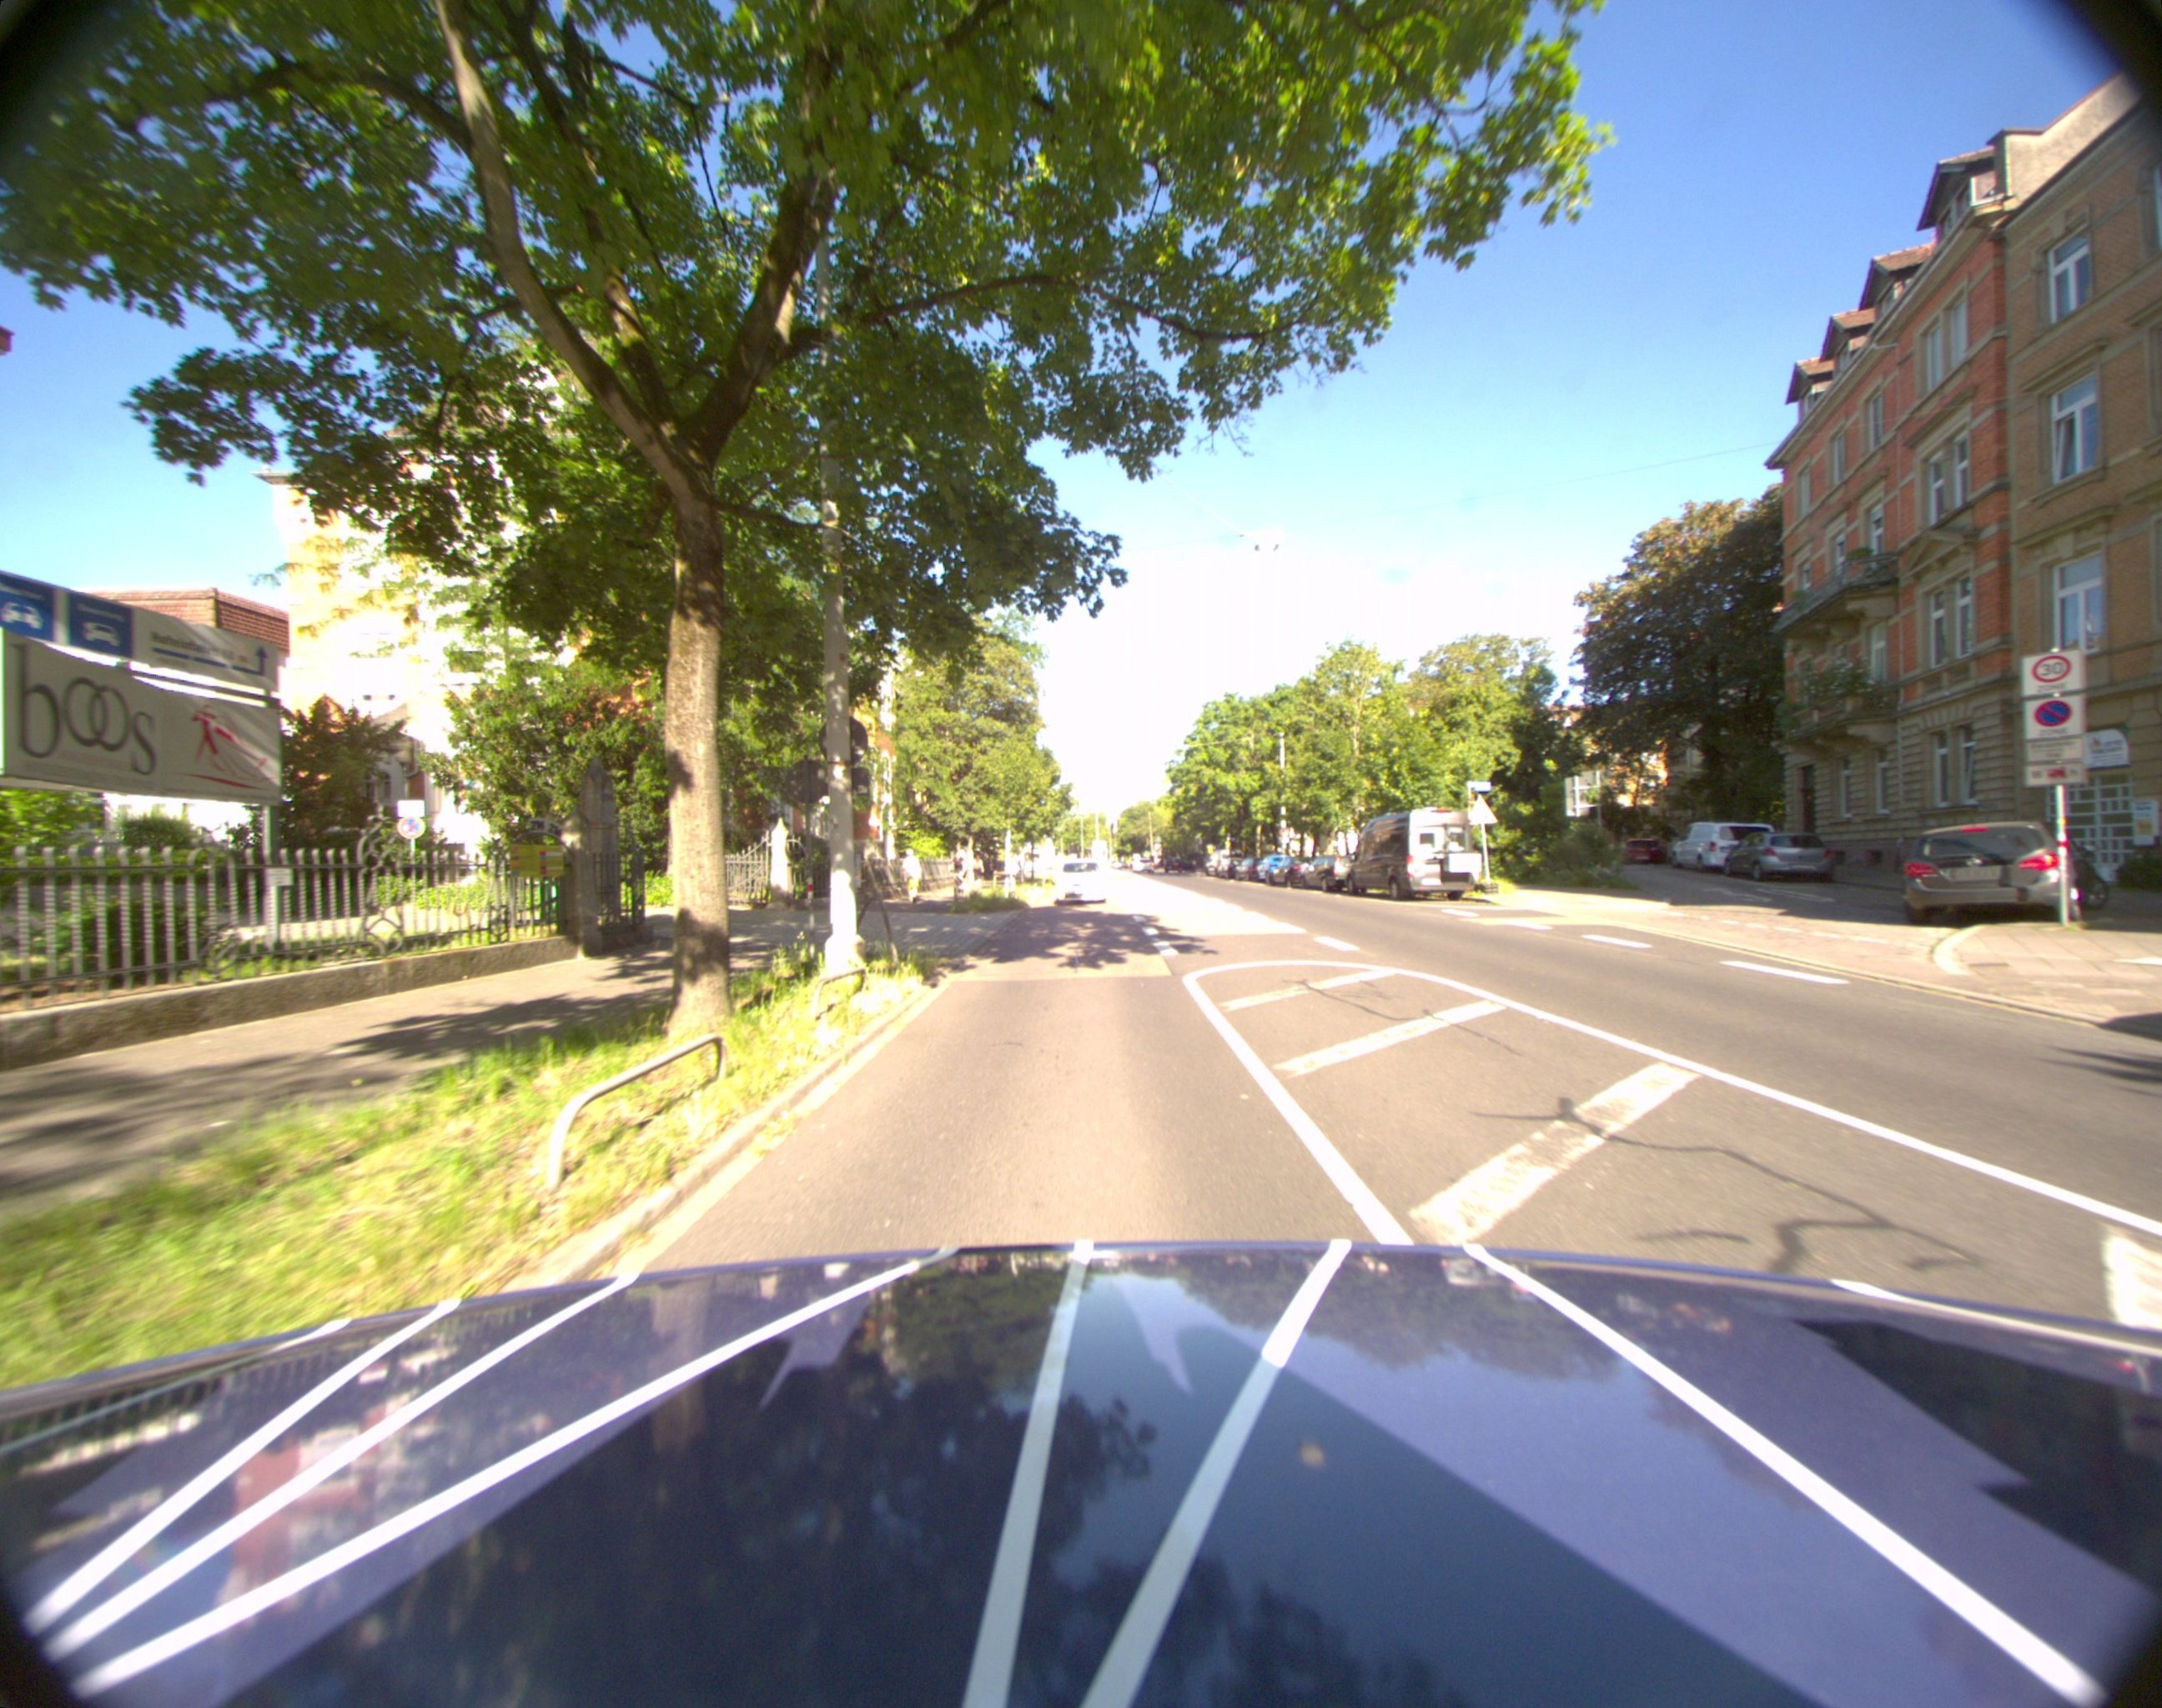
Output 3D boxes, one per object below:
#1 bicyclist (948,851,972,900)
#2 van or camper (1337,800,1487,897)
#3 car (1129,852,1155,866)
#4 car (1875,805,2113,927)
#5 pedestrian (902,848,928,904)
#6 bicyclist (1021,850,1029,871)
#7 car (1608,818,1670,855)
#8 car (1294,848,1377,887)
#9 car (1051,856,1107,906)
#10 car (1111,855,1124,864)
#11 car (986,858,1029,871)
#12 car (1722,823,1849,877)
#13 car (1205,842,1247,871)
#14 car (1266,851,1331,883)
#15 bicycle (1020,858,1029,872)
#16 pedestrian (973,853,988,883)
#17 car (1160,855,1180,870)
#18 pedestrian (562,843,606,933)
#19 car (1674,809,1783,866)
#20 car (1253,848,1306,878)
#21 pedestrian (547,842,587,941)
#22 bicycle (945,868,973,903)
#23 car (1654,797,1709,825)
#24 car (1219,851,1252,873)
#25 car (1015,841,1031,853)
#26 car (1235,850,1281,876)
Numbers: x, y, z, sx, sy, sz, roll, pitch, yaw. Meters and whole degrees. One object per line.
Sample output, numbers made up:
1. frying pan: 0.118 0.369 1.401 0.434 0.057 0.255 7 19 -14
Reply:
1. bicyclist: -4.233 0.747 26.574 0.647 1.685 0.889 2 0 0
2. van or camper: 10.450 -0.136 24.688 2.222 2.723 6.088 -1 0 0
3. car: 6.057 0.488 75.806 1.924 1.411 4.224 -1 0 -4
4. car: 15.477 0.151 12.846 4.150 1.660 1.996 -4 -1 -33
5. pedestrian: -5.413 0.716 24.741 0.750 1.777 0.809 2 0 -15
6. bicyclist: -4.598 0.561 62.190 0.622 1.680 0.820 2 0 -3
7. car: 30.287 -0.973 41.377 1.860 1.903 4.458 1 2 25
8. car: 10.170 0.512 30.748 1.698 1.448 4.663 1 0 -1
9. car: 0.002 0.872 26.021 1.652 1.449 3.897 -4 0 2
10. car: 6.092 0.927 126.516 1.843 1.482 3.779 0 0 -4
11. car: -7.949 1.164 82.654 4.417 1.409 2.047 0 0 2
12. car: 21.584 -0.163 23.466 1.860 1.504 3.535 1 2 25
13. car: 10.883 0.200 57.369 1.989 2.024 4.874 1 0 -3
14. car: 10.137 0.596 35.744 1.785 1.405 4.405 1 0 0
15. bicycle: -4.612 0.901 62.177 0.617 1.169 1.918 2 0 -3
16. pedestrian: -5.650 0.794 42.676 0.696 1.649 0.820 2 1 0
17. car: 8.980 0.846 76.765 1.596 1.441 4.133 -1 0 0
18. pedestrian: -9.589 0.643 14.673 0.540 1.699 0.515 0 0 -6
19. car: 23.475 -0.612 27.763 1.860 1.903 4.458 1 2 25
20. car: 10.706 0.477 41.338 1.784 1.529 4.559 -1 0 2
21. pedestrian: -9.408 0.678 13.928 0.533 1.768 0.541 0 0 -26
22. bicycle: -4.246 1.078 26.551 0.654 1.169 1.843 2 0 0
23. car: 63.425 -4.485 80.339 1.893 2.607 4.917 0 0 0
24. car: 10.642 0.520 52.602 1.467 1.493 3.958 0 1 1
25. car: -7.180 -0.847 93.988 1.847 1.432 4.105 2 -1 -3
26. car: 10.601 0.502 45.867 1.594 1.473 4.270 0 1 -3
